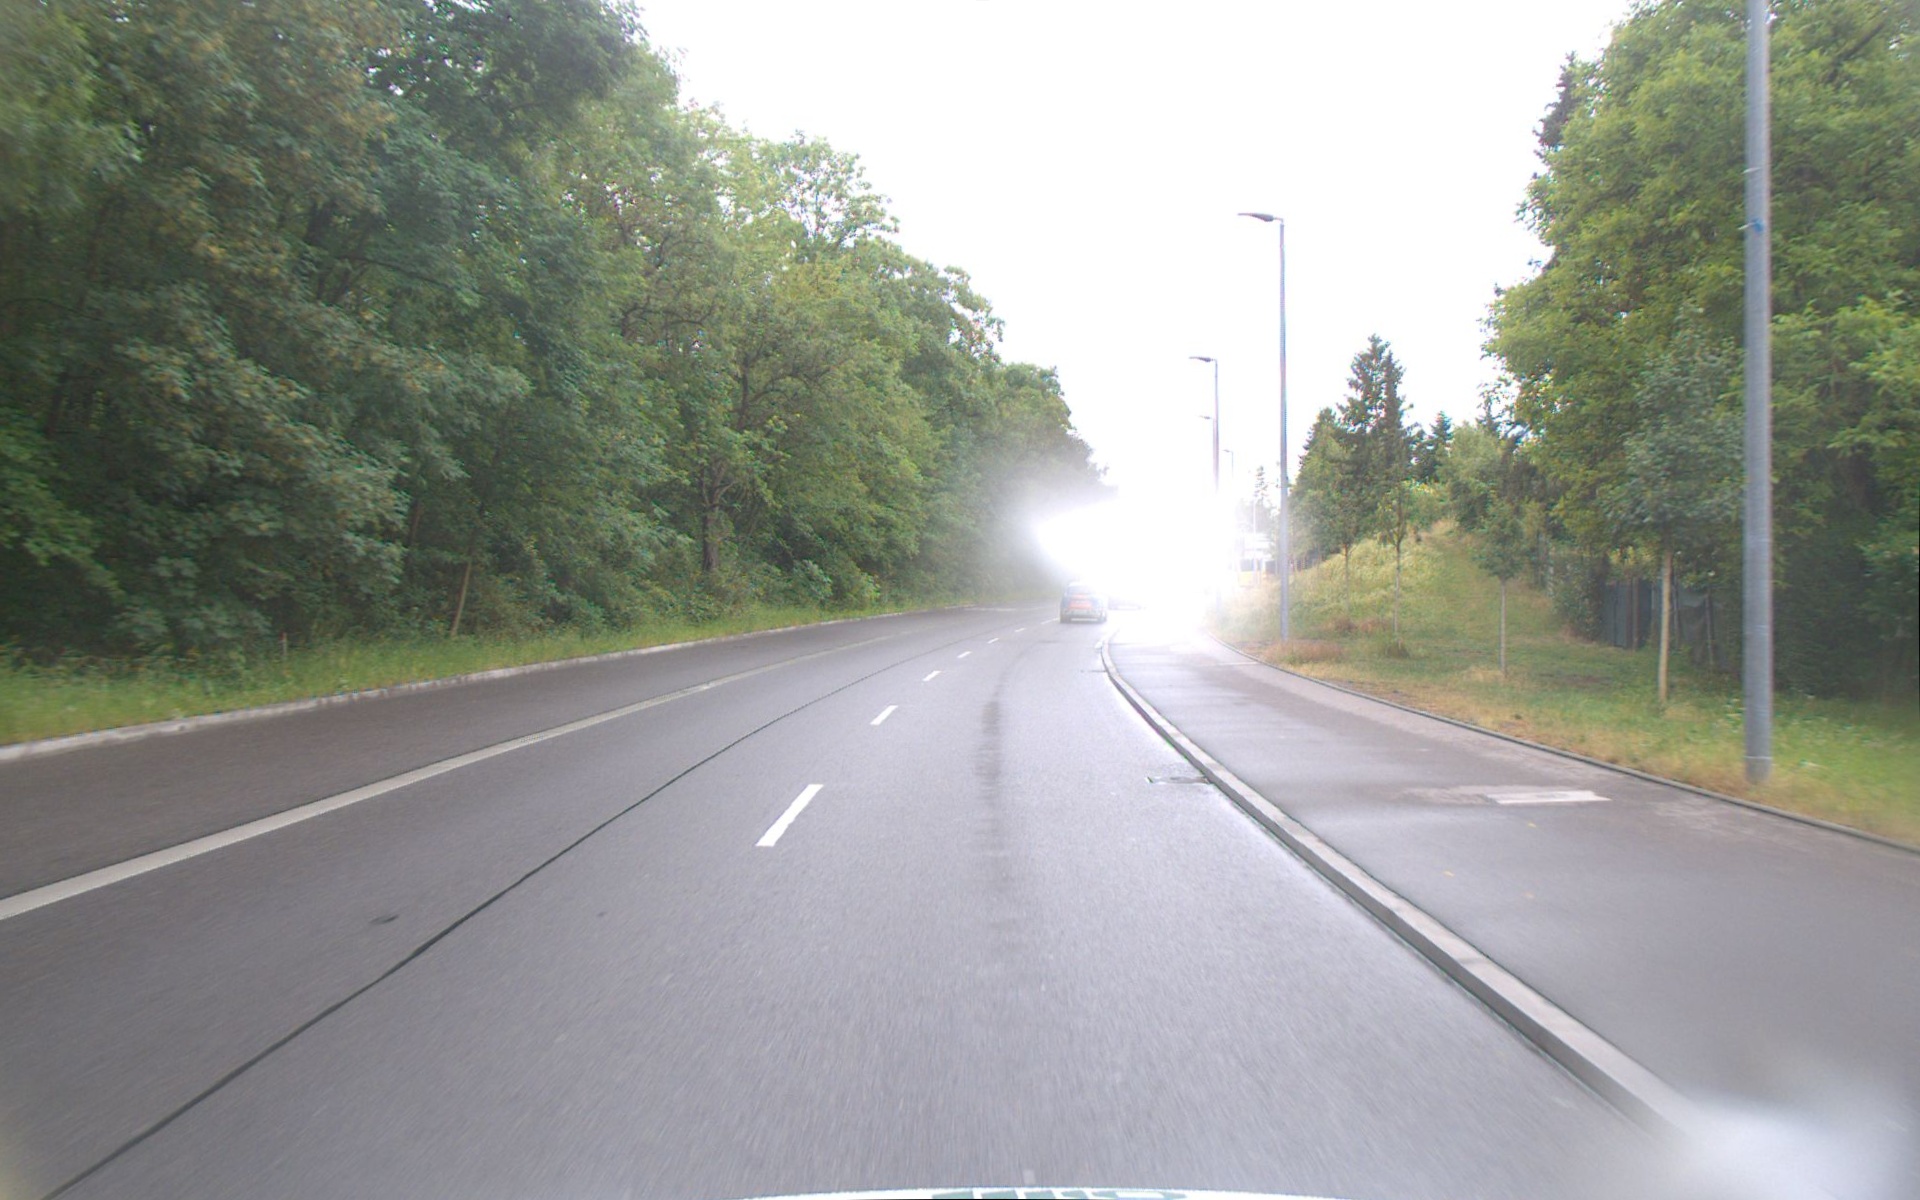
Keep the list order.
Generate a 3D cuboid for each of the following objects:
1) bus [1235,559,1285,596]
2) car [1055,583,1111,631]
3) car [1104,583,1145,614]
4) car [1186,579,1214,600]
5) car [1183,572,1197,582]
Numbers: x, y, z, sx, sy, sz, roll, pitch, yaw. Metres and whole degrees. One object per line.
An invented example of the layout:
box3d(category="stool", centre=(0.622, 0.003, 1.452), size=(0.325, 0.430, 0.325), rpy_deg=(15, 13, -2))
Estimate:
box3d(category="bus", centre=(27.215, -2.010, 149.649), size=(2.759, 3.197, 9.180), rpy_deg=(1, 1, 21))
box3d(category="car", centre=(4.949, 0.237, 66.180), size=(1.951, 1.718, 4.004), rpy_deg=(-1, 2, 8))
box3d(category="car", centre=(8.803, -0.104, 88.303), size=(1.886, 1.512, 3.803), rpy_deg=(-1, 2, 9))
box3d(category="car", centre=(18.743, -0.815, 129.295), size=(1.951, 1.579, 4.004), rpy_deg=(1, 1, 11))
box3d(category="car", centre=(34.742, -3.515, 250.296), size=(1.951, 1.445, 4.003), rpy_deg=(0, 1, 6))
